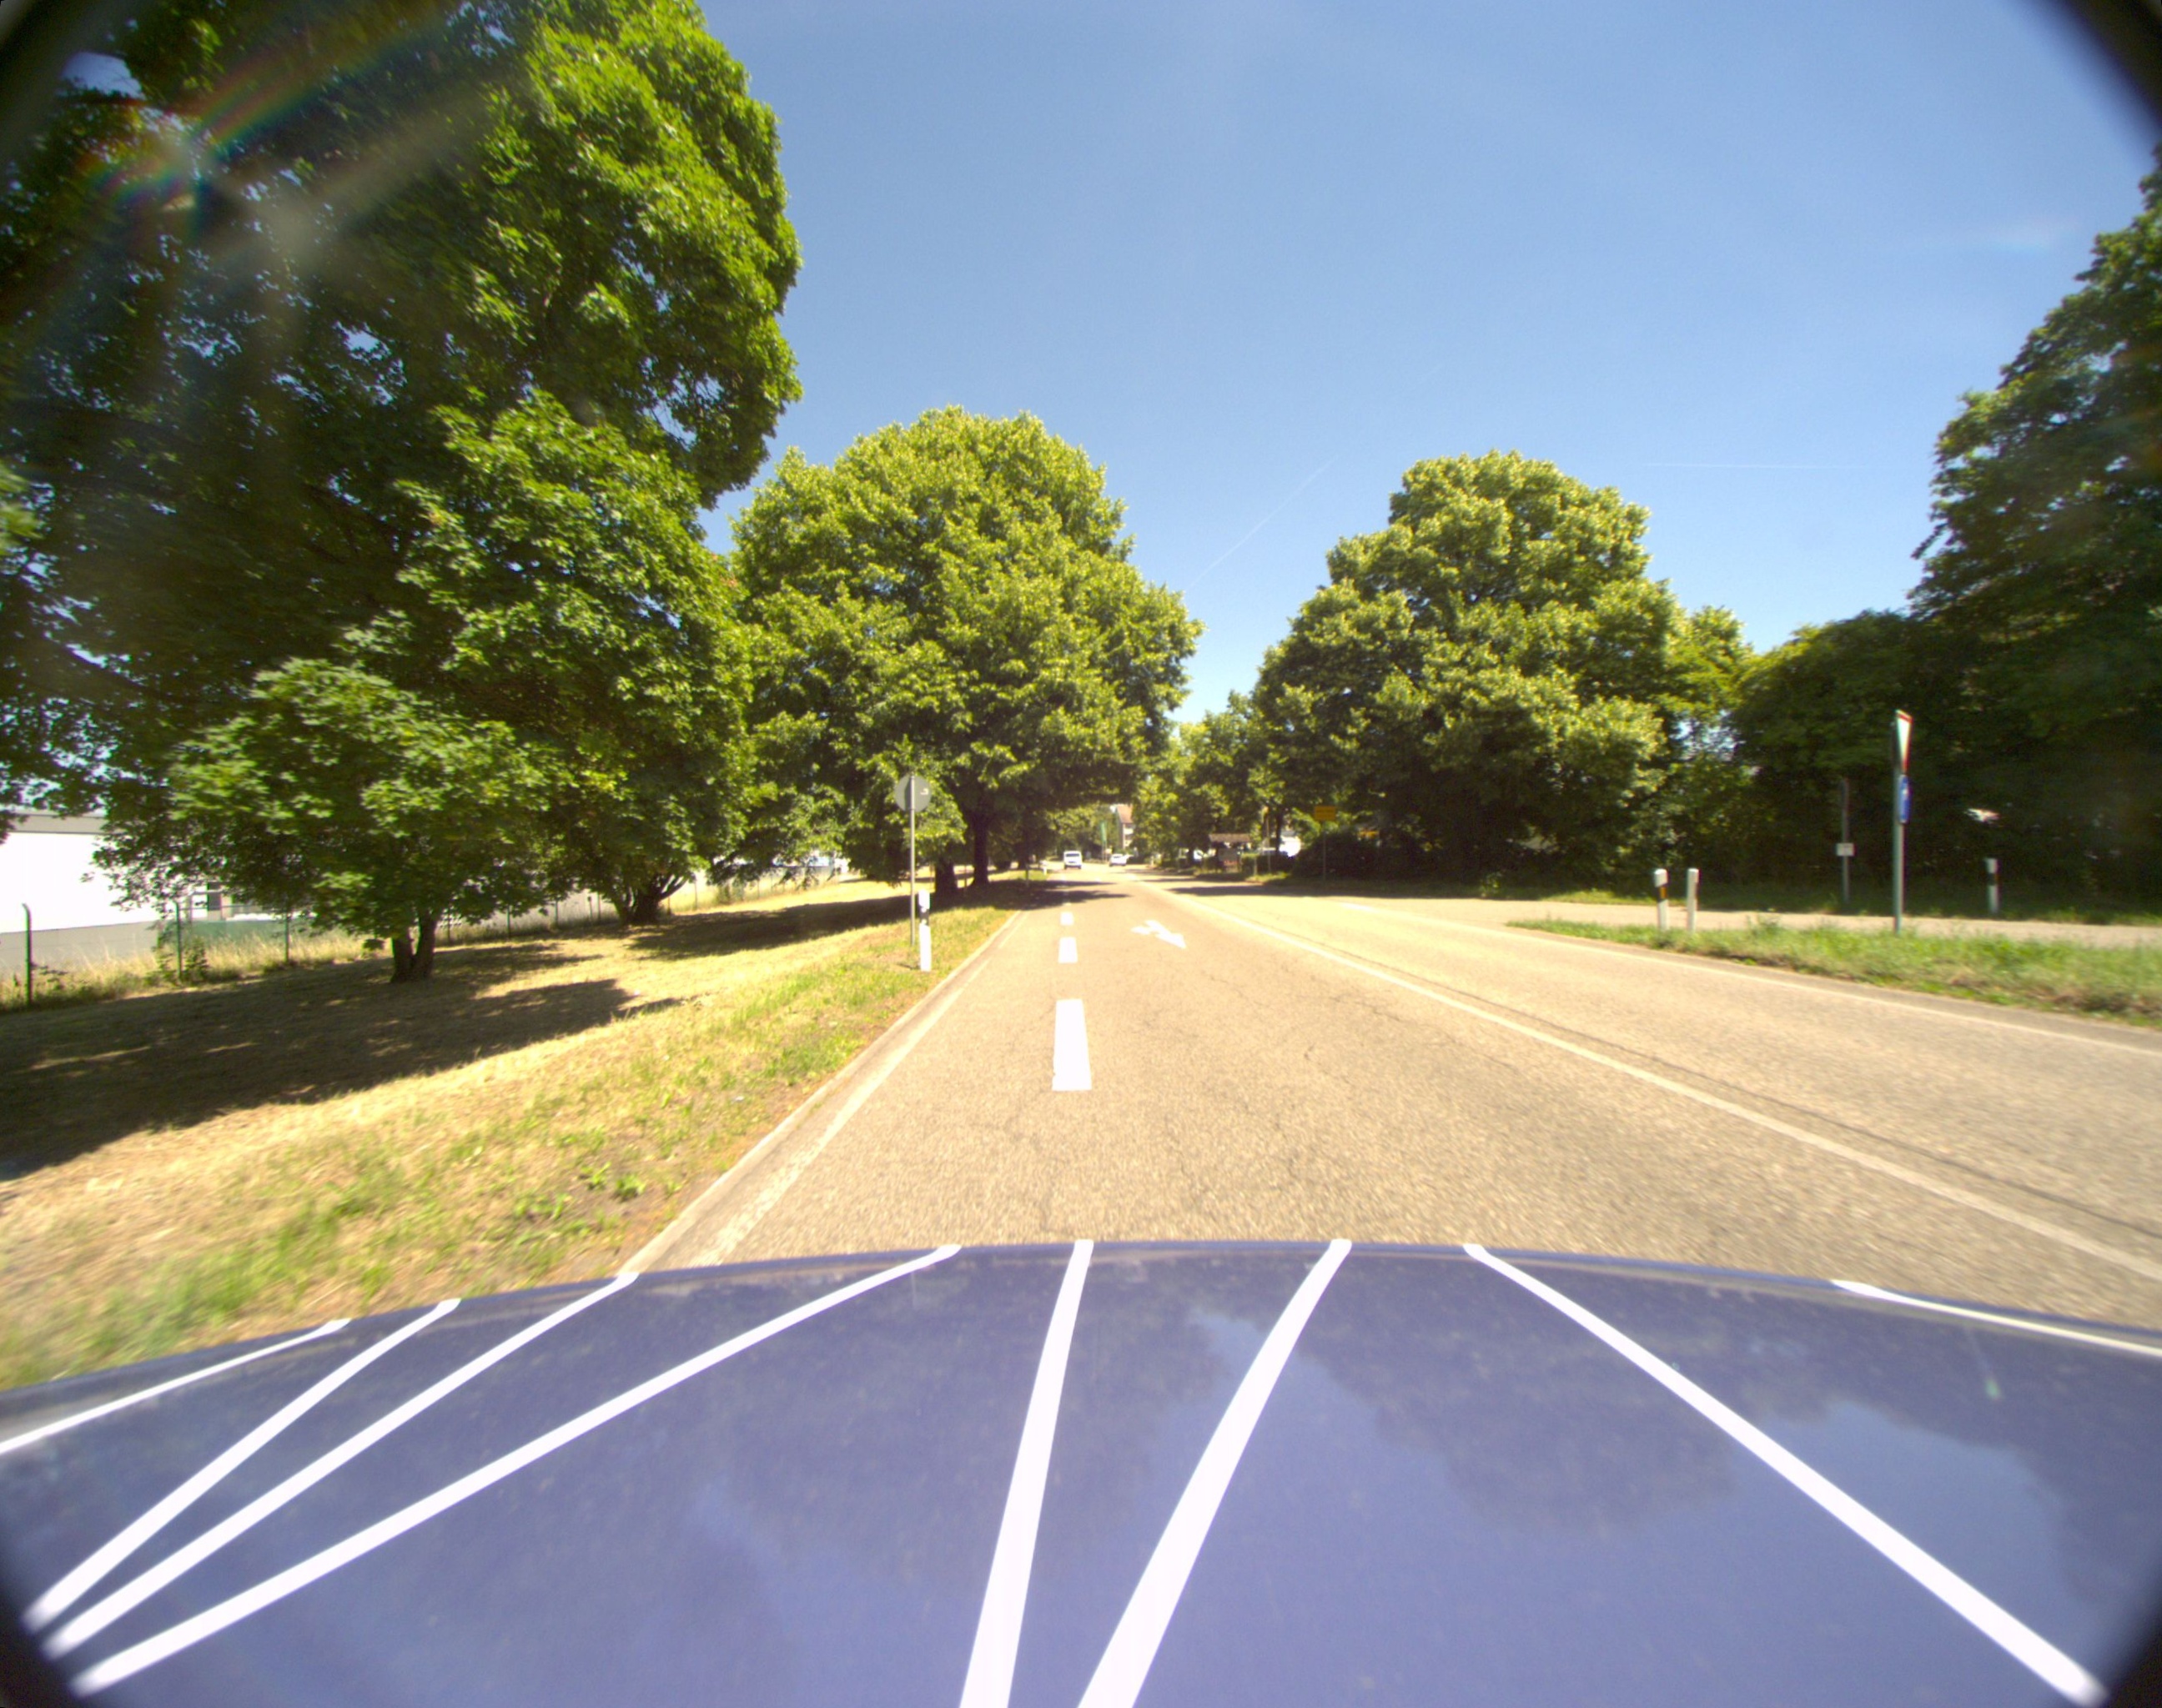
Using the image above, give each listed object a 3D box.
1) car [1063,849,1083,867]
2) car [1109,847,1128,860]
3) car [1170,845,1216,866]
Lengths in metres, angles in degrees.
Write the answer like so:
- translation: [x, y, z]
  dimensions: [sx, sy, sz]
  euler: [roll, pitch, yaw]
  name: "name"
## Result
- translation: [-0.934, 0.401, 85.262]
  dimensions: [1.797, 1.904, 3.637]
  euler: [-1, 1, -9]
  name: "car"
- translation: [4.842, -0.076, 98.335]
  dimensions: [2.100, 1.579, 4.474]
  euler: [-3, 1, -1]
  name: "car"
- translation: [11.408, 0.118, 77.570]
  dimensions: [4.369, 1.969, 1.904]
  euler: [-2, 1, -5]
  name: "car"
